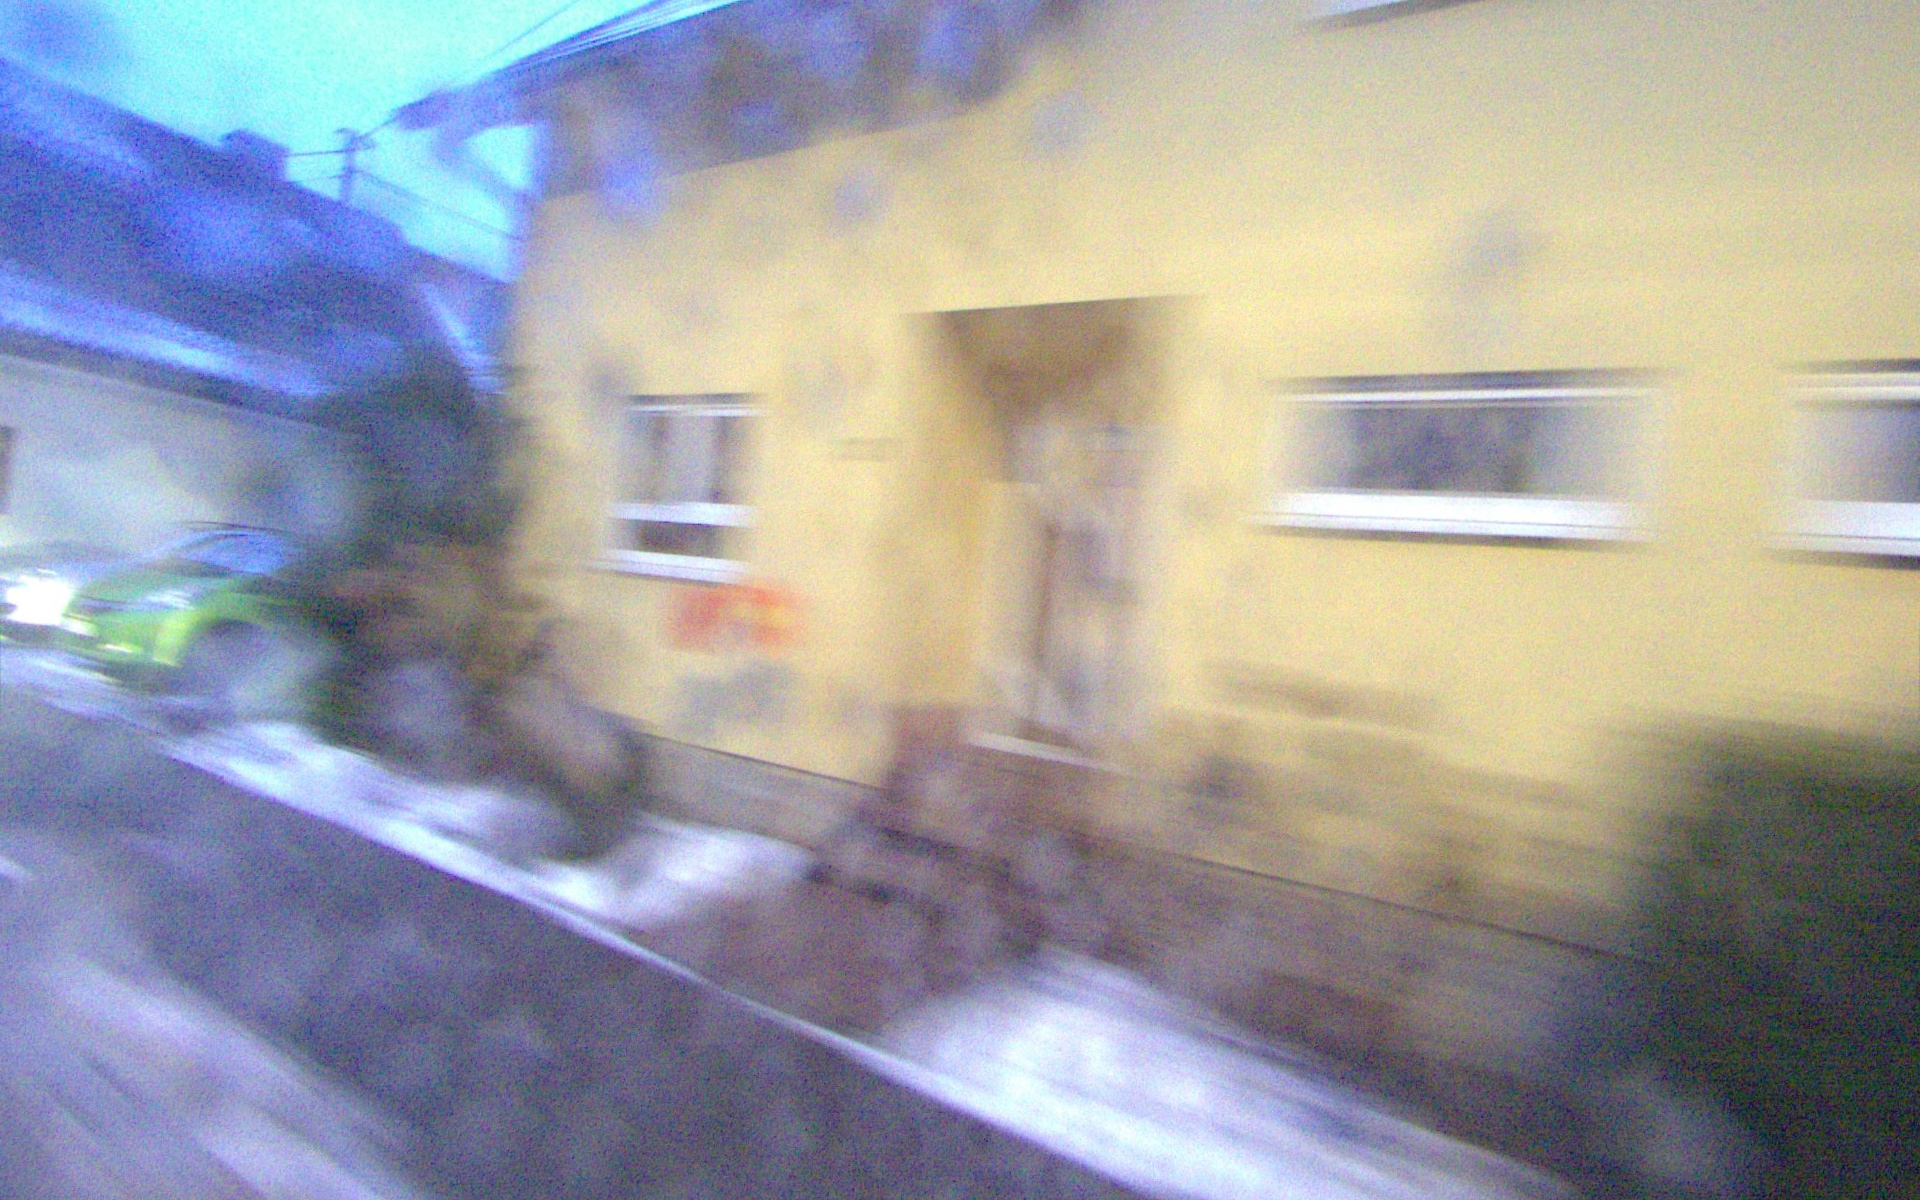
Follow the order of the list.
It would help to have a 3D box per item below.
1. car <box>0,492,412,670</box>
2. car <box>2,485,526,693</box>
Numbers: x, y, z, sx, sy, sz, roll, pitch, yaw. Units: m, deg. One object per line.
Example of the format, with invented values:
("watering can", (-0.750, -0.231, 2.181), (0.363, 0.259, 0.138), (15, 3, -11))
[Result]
("car", (-8.959, -0.163, 11.596), (1.868, 1.449, 4.185), (8, -3, 27))
("car", (-6.548, 0.024, 9.950), (1.789, 1.514, 3.752), (7, -2, 26))
